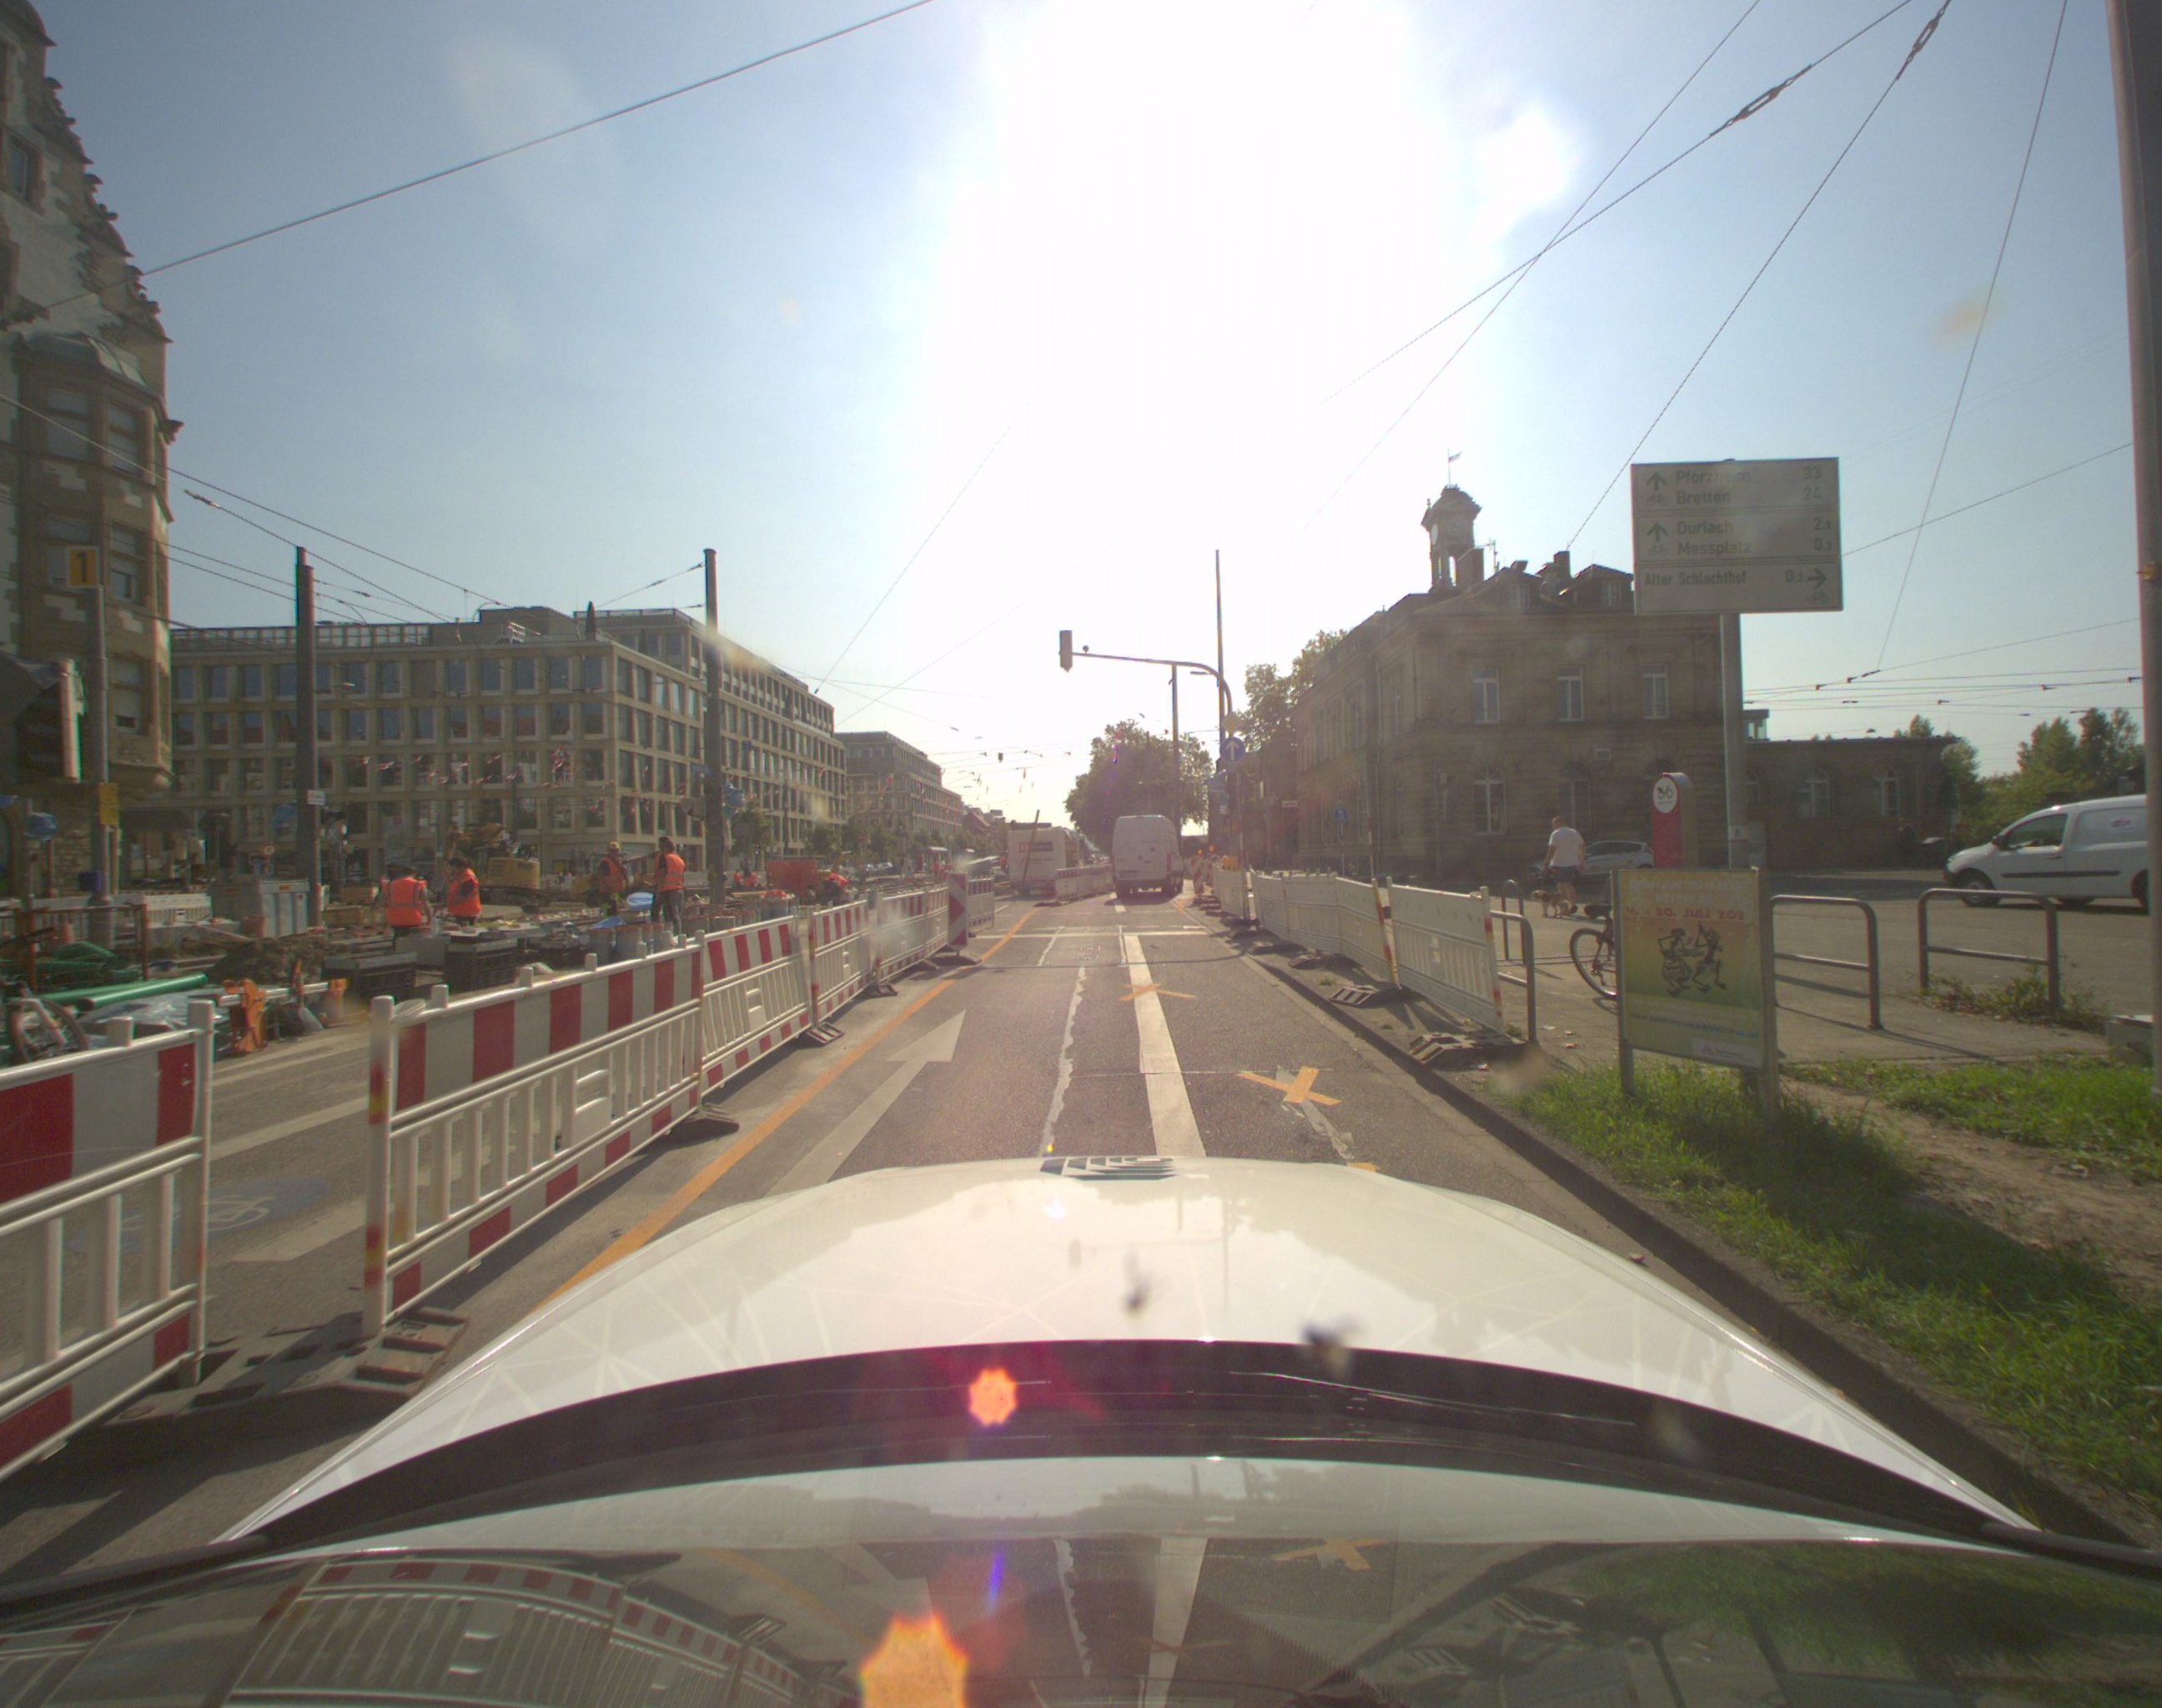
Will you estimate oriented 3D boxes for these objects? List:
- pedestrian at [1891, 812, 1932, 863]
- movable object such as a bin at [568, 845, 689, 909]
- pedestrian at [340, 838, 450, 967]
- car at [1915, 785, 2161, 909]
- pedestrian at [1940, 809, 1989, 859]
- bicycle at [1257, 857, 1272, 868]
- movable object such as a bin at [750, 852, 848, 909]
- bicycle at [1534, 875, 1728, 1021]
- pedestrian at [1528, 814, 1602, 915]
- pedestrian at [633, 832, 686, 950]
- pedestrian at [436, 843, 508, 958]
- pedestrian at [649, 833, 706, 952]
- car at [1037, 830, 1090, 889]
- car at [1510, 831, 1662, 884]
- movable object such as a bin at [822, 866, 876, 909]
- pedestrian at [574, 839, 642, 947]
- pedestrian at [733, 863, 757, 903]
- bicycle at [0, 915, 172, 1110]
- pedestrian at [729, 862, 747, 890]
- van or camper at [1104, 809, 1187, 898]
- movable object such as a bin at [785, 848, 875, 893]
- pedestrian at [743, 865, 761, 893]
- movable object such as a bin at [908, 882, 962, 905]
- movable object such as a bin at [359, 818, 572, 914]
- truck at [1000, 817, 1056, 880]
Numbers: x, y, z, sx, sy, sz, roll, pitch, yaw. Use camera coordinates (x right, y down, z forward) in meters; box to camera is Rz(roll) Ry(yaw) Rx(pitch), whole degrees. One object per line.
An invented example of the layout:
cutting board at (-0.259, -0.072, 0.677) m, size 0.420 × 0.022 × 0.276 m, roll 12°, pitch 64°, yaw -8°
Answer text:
pedestrian at (31.546, -0.616, 30.948) m, size 0.664 × 1.864 × 0.872 m, roll -2°, pitch -1°, yaw 12°
movable object such as a bin at (-22.012, 1.069, 39.663) m, size 4.838 × 2.834 × 2.422 m, roll -1°, pitch -1°, yaw -36°
pedestrian at (-10.094, 0.691, 12.004) m, size 0.821 × 1.817 × 0.888 m, roll -2°, pitch -1°, yaw 16°
car at (16.497, -0.136, 13.085) m, size 1.896 × 1.783 × 4.227 m, roll -3°, pitch -1°, yaw 2°
pedestrian at (33.977, -0.762, 31.340) m, size 0.669 × 1.864 × 1.034 m, roll -2°, pitch -1°, yaw -12°
bicycle at (16.597, 0.759, 73.550) m, size 0.492 × 0.999 × 1.807 m, roll -2°, pitch 2°, yaw -17°
movable object such as a bin at (-8.415, 0.767, 24.583) m, size 1.593 × 1.559 × 3.289 m, roll -2°, pitch -1°, yaw 3°
bicycle at (4.424, 0.701, 6.693) m, size 0.536 × 1.006 × 1.572 m, roll -3°, pitch -1°, yaw 2°
pedestrian at (8.628, 0.181, 14.555) m, size 0.864 × 1.737 × 0.670 m, roll -2°, pitch -1°, yaw -4°
pedestrian at (-7.465, 0.640, 14.403) m, size 0.700 × 2.015 × 0.667 m, roll -1°, pitch -1°, yaw -35°
pedestrian at (-10.024, 0.736, 13.412) m, size 0.835 × 1.810 × 0.745 m, roll -1°, pitch -1°, yaw -43°
pedestrian at (-6.802, 0.635, 13.730) m, size 0.717 × 1.926 × 0.677 m, roll -1°, pitch -1°, yaw -35°
car at (-0.703, 0.277, 38.032) m, size 2.200 × 2.424 × 7.199 m, roll -2°, pitch -1°, yaw 0°
car at (16.980, 0.128, 27.534) m, size 3.977 × 1.536 × 1.668 m, roll -3°, pitch -1°, yaw 7°
movable object such as a bin at (-7.068, 0.989, 24.918) m, size 0.883 × 1.211 × 2.214 m, roll -2°, pitch -1°, yaw 3°
pedestrian at (-8.442, 0.681, 14.550) m, size 0.715 × 1.870 × 0.710 m, roll -2°, pitch -1°, yaw 10°
pedestrian at (-16.372, 1.396, 39.720) m, size 0.781 × 1.912 × 0.725 m, roll -2°, pitch -1°, yaw 10°
bicycle at (-6.688, 0.967, 4.833) m, size 0.562 × 1.099 × 1.962 m, roll 0°, pitch -1°, yaw -8°
pedestrian at (-23.507, 1.508, 55.757) m, size 0.747 × 1.865 × 0.814 m, roll -1°, pitch -1°, yaw 21°
van or camper at (2.363, -0.034, 28.326) m, size 2.102 × 2.682 × 5.267 m, roll -4°, pitch 0°, yaw 11°
movable object such as a bin at (-17.804, 1.179, 58.542) m, size 3.600 × 2.958 × 8.479 m, roll 0°, pitch -1°, yaw 2°
pedestrian at (-22.067, 1.677, 54.631) m, size 0.923 × 1.865 × 0.807 m, roll -1°, pitch -1°, yaw -9°
movable object such as a bin at (-4.747, 1.284, 26.438) m, size 1.701 × 0.713 × 0.722 m, roll -2°, pitch -1°, yaw 35°
movable object such as a bin at (-30.732, 0.663, 40.911) m, size 7.304 × 4.347 × 4.988 m, roll -2°, pitch -2°, yaw 14°
truck at (-3.713, -0.325, 54.977) m, size 2.793 × 3.912 × 8.388 m, roll 0°, pitch 0°, yaw -11°
